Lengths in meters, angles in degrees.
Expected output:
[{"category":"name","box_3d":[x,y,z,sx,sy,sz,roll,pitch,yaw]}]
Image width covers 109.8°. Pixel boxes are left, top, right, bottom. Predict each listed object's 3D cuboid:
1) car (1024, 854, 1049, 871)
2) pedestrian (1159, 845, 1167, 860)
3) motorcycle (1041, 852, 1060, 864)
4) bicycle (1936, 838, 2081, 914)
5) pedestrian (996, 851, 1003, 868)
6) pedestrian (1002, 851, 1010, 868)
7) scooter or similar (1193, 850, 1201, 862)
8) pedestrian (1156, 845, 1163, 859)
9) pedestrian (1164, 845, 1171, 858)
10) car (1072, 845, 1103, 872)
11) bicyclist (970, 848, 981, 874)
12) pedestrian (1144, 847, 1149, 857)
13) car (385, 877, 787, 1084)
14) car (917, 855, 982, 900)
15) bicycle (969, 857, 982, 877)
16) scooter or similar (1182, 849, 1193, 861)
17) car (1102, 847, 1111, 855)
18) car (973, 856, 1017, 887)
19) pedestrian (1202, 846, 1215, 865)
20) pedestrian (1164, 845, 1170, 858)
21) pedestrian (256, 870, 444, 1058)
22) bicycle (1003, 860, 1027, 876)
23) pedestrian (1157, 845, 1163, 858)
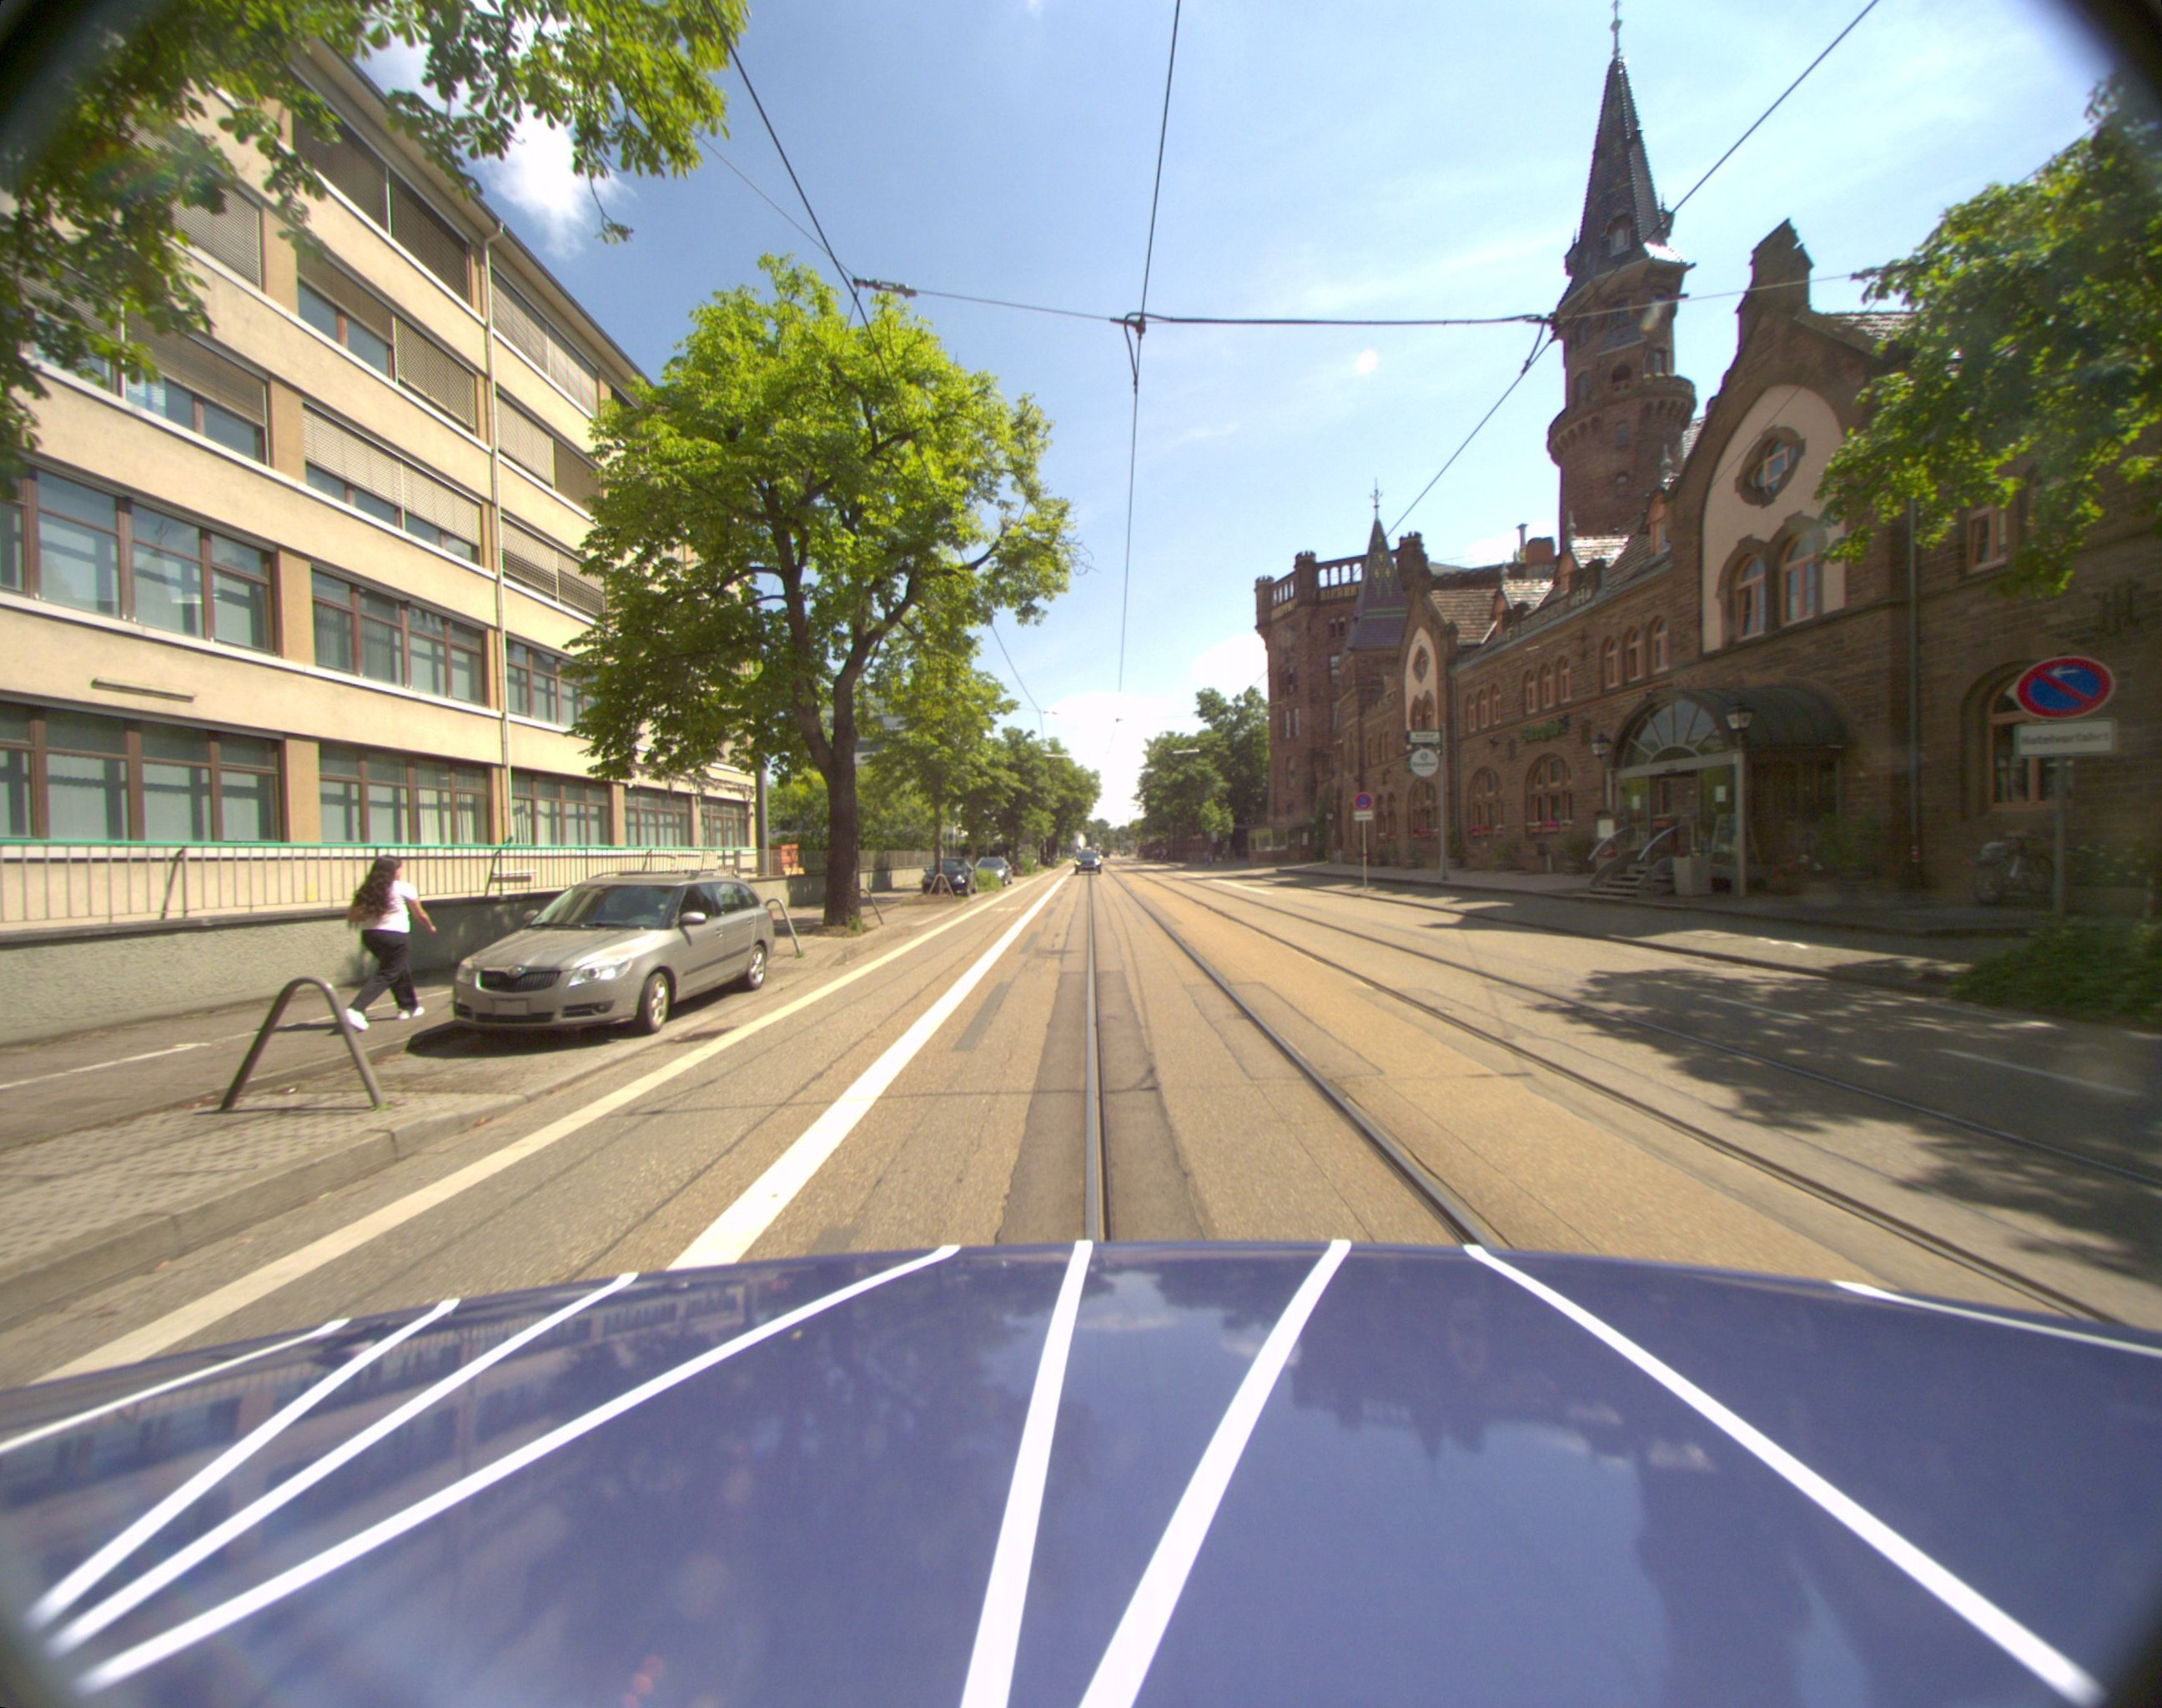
[{"category":"car","box_3d":[-3.743,0.726,64.204,1.755,1.263,3.833,-3,0,1]},{"category":"pedestrian","box_3d":[10.255,-0.194,94.794,0.723,1.781,0.919,-5,1,1]},{"category":"motorcycle","box_3d":[-3.160,0.454,79.543,2.056,1.206,0.614,0,2,40]},{"category":"bicycle","box_3d":[13.965,0.312,11.439,2.002,0.886,0.597,-7,2,-16]},{"category":"pedestrian","box_3d":[-7.539,0.544,70.374,0.514,1.564,0.544,0,1,1]},{"category":"pedestrian","box_3d":[-6.925,0.527,70.363,0.620,1.564,0.610,0,1,1]},{"category":"scooter or similar","box_3d":[11.485,0.169,75.072,0.328,1.120,1.225,-2,1,29]},{"category":"pedestrian","box_3d":[10.613,-0.265,103.017,0.679,1.738,0.919,-5,1,1]},{"category":"pedestrian","box_3d":[11.685,-0.363,102.912,0.754,1.766,0.919,-5,1,0]},{"category":"car","box_3d":[0.434,0.294,52.646,1.998,1.732,4.226,-3,0,1]},{"category":"bicyclist","box_3d":[-6.694,0.411,48.286,0.582,1.638,0.599,0,1,1]},{"category":"pedestrian","box_3d":[12.347,-0.357,143.104,0.750,1.738,0.919,-4,1,0]},{"category":"car","box_3d":[-4.879,1.099,8.393,1.676,1.490,4.364,-2,0,-2]},{"category":"car","box_3d":[-4.769,0.816,28.065,1.675,1.481,3.980,-2,0,0]},{"category":"bicycle","box_3d":[-6.689,0.813,48.217,0.556,1.258,1.774,1,1,1]},{"category":"scooter or similar","box_3d":[10.986,0.091,78.530,0.348,1.120,1.227,-2,2,44]},{"category":"car","box_3d":[5.835,-0.685,174.423,1.909,1.778,4.255,-1,0,1]},{"category":"car","box_3d":[-4.324,0.860,38.885,1.675,1.400,4.748,-2,0,0]},{"category":"pedestrian","box_3d":[11.061,0.126,65.881,0.801,1.579,0.919,-5,1,0]},{"category":"pedestrian","box_3d":[11.911,-0.339,105.041,0.679,1.766,0.919,-5,1,1]},{"category":"pedestrian","box_3d":[-6.617,0.951,6.936,0.801,1.579,0.919,0,1,0]},{"category":"bicycle","box_3d":[-4.467,0.936,51.614,1.589,1.054,0.562,-2,1,-1]},{"category":"pedestrian","box_3d":[10.953,-0.296,105.042,0.679,1.780,0.919,-5,1,1]}]
